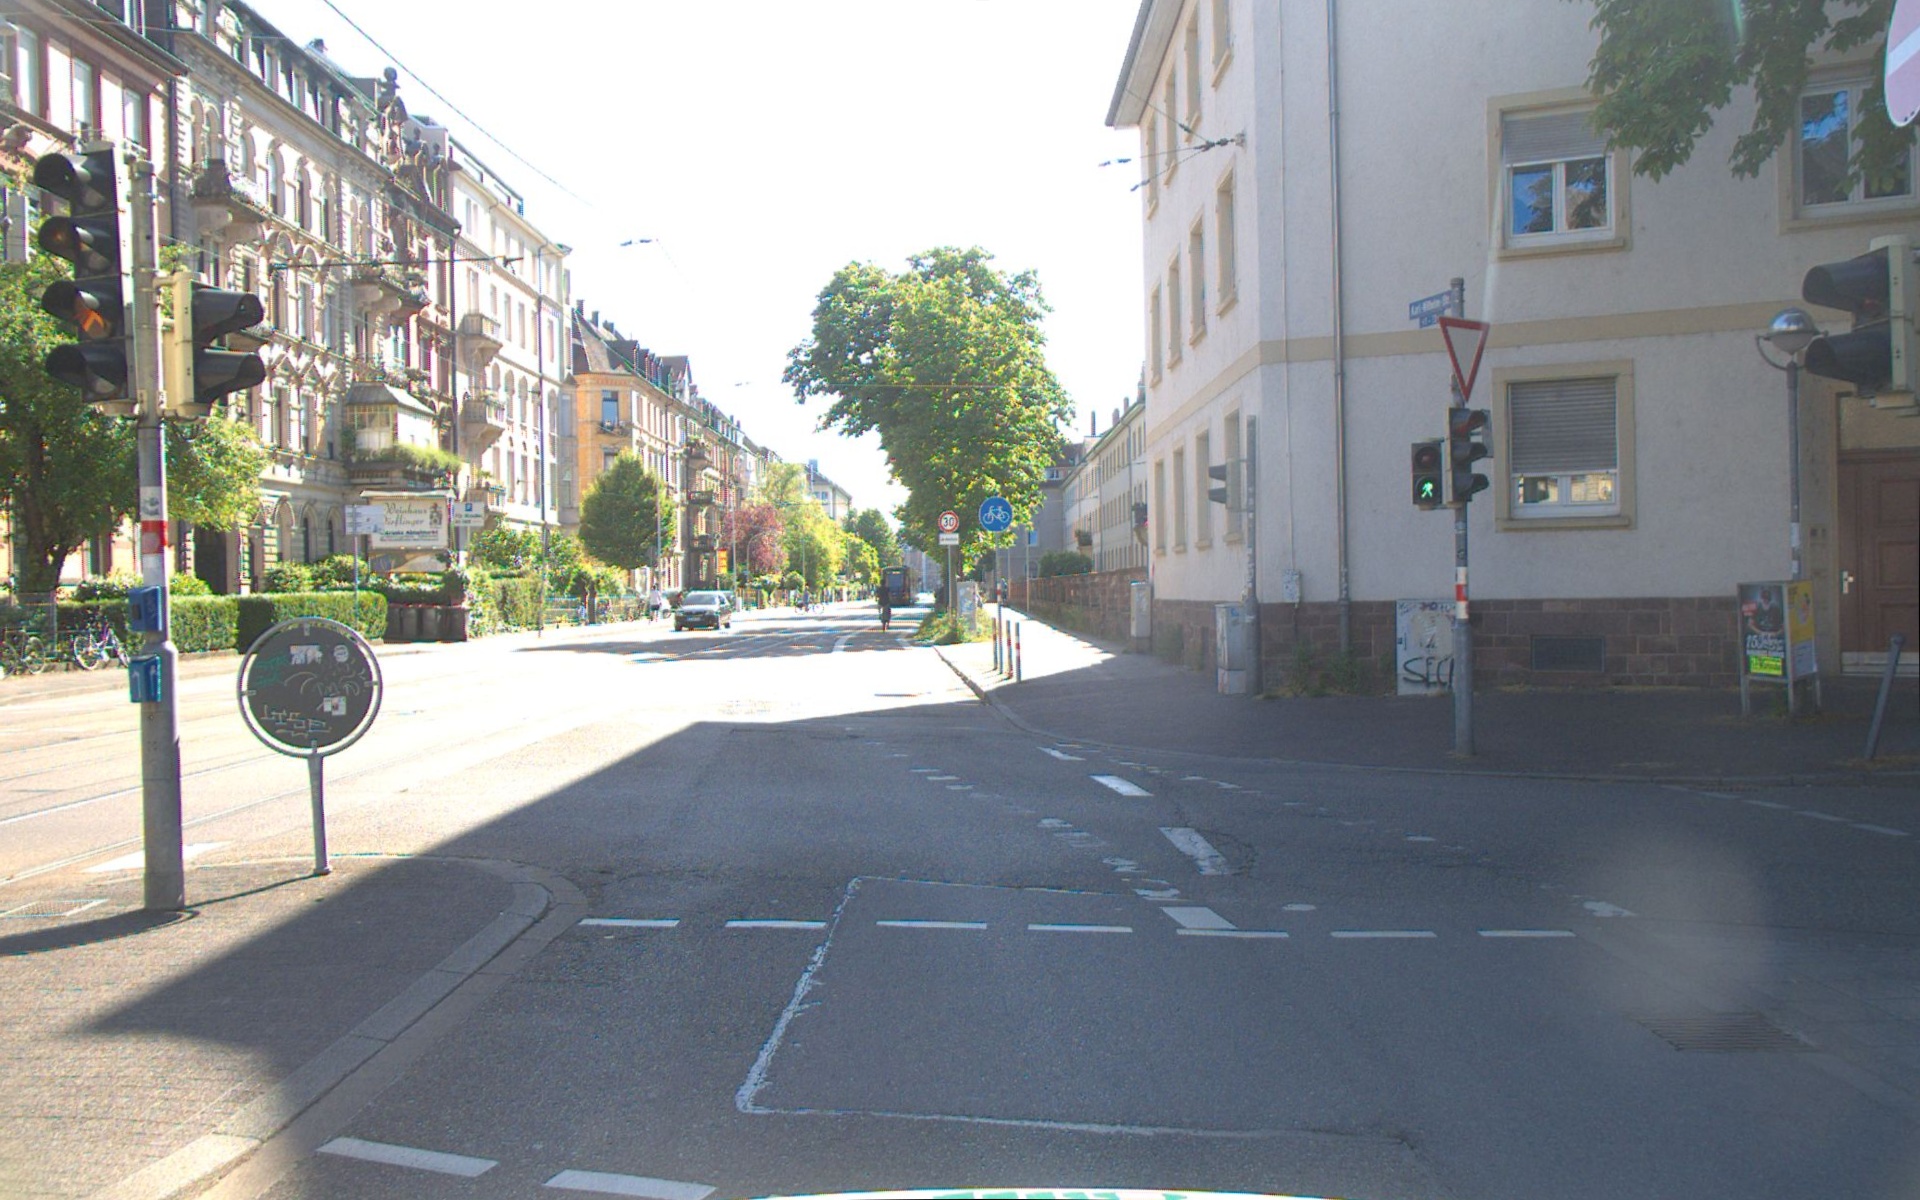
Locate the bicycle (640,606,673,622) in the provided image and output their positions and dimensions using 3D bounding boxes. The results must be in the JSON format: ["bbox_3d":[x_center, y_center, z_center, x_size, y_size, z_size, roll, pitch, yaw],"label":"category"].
[{"bbox_3d":[-17.288,0.794,94.117,1.769,0.930,0.613,0,-2,-36],"label":"bicycle"}]

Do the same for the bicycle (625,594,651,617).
[{"bbox_3d":[-15.629,0.273,80.284,0.559,1.051,1.745,0,2,-36],"label":"bicycle"}]

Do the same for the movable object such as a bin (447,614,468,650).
[{"bbox_3d":[-15.660,0.991,51.517,0.469,1.105,0.541,0,0,1],"label":"movable object such as a bin"}]

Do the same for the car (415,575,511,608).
[{"bbox_3d":[-25.817,-0.445,86.043,4.353,1.672,1.967,0,0,2],"label":"car"}]

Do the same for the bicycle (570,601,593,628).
[{"bbox_3d":[-15.821,0.588,69.107,0.551,1.051,1.768,0,1,0],"label":"bicycle"}]

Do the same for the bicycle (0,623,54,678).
[{"bbox_3d":[-17.188,0.913,29.967,0.334,0.942,1.944,0,0,4],"label":"bicycle"}]

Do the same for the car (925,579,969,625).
[{"bbox_3d":[-0.532,0.070,66.744,1.708,1.797,4.477,0,0,-1],"label":"car"}]

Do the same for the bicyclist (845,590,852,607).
[{"bbox_3d":[-12.447,-0.185,184.791,0.647,1.833,0.616,-3,0,0],"label":"bicyclist"}]

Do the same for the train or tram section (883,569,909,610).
[{"bbox_3d":[-5.672,-0.946,147.569,2.109,3.491,6.610,0,0,0],"label":"train or tram section"}]

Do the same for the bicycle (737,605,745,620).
[{"bbox_3d":[-15.538,0.880,117.244,0.328,1.018,1.870,0,0,0],"label":"bicycle"}]

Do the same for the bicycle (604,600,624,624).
[{"bbox_3d":[-15.775,0.550,75.462,0.551,1.051,1.767,0,1,-1],"label":"bicycle"}]

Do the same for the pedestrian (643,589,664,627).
[{"bbox_3d":[-14.550,0.387,78.568,0.812,1.754,1.082,0,-1,-1],"label":"pedestrian"}]

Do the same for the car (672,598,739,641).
[{"bbox_3d":[-9.914,0.719,64.796,1.794,1.544,4.967,1,0,0],"label":"car"}]

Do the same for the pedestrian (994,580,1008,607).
[{"bbox_3d":[2.748,-0.416,109.677,0.748,1.754,0.579,0,0,29],"label":"pedestrian"}]

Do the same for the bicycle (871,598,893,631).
[{"bbox_3d":[-2.711,0.497,57.752,0.677,1.132,1.718,0,0,0],"label":"bicycle"}]

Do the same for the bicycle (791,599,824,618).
[{"bbox_3d":[-9.163,0.489,99.383,1.886,1.132,0.689,0,0,-24],"label":"bicycle"}]

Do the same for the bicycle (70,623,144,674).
[{"bbox_3d":[-16.876,0.951,32.773,0.334,0.942,1.944,0,0,4],"label":"bicycle"}]

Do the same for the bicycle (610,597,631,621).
[{"bbox_3d":[-16.069,0.412,78.158,0.556,1.051,1.754,3,0,-24],"label":"bicycle"}]

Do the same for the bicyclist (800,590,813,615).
[{"bbox_3d":[-9.207,0.148,99.368,0.606,1.494,0.632,0,0,-24],"label":"bicyclist"}]

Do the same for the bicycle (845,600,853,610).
[{"bbox_3d":[-12.429,0.542,184.811,0.677,1.132,1.718,-2,0,0],"label":"bicycle"}]

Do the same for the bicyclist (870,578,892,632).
[{"bbox_3d":[-2.769,0.159,58.004,0.712,1.880,0.836,0,0,-1],"label":"bicyclist"}]

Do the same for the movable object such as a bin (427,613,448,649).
[{"bbox_3d":[-16.262,0.977,51.508,0.469,1.105,0.541,0,0,1],"label":"movable object such as a bin"}]

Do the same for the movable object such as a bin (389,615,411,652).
[{"bbox_3d":[-17.168,1.031,50.720,0.469,1.105,0.541,0,0,1],"label":"movable object such as a bin"}]

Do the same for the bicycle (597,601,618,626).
[{"bbox_3d":[-15.626,0.595,73.324,0.551,1.051,1.767,0,1,-1],"label":"bicycle"}]

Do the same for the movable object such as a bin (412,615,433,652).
[{"bbox_3d":[-16.499,1.017,50.766,0.469,1.105,0.541,0,0,1],"label":"movable object such as a bin"}]

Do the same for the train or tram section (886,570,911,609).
[{"bbox_3d":[-5.698,-0.985,154.228,2.109,3.491,6.610,0,0,0],"label":"train or tram section"}]
